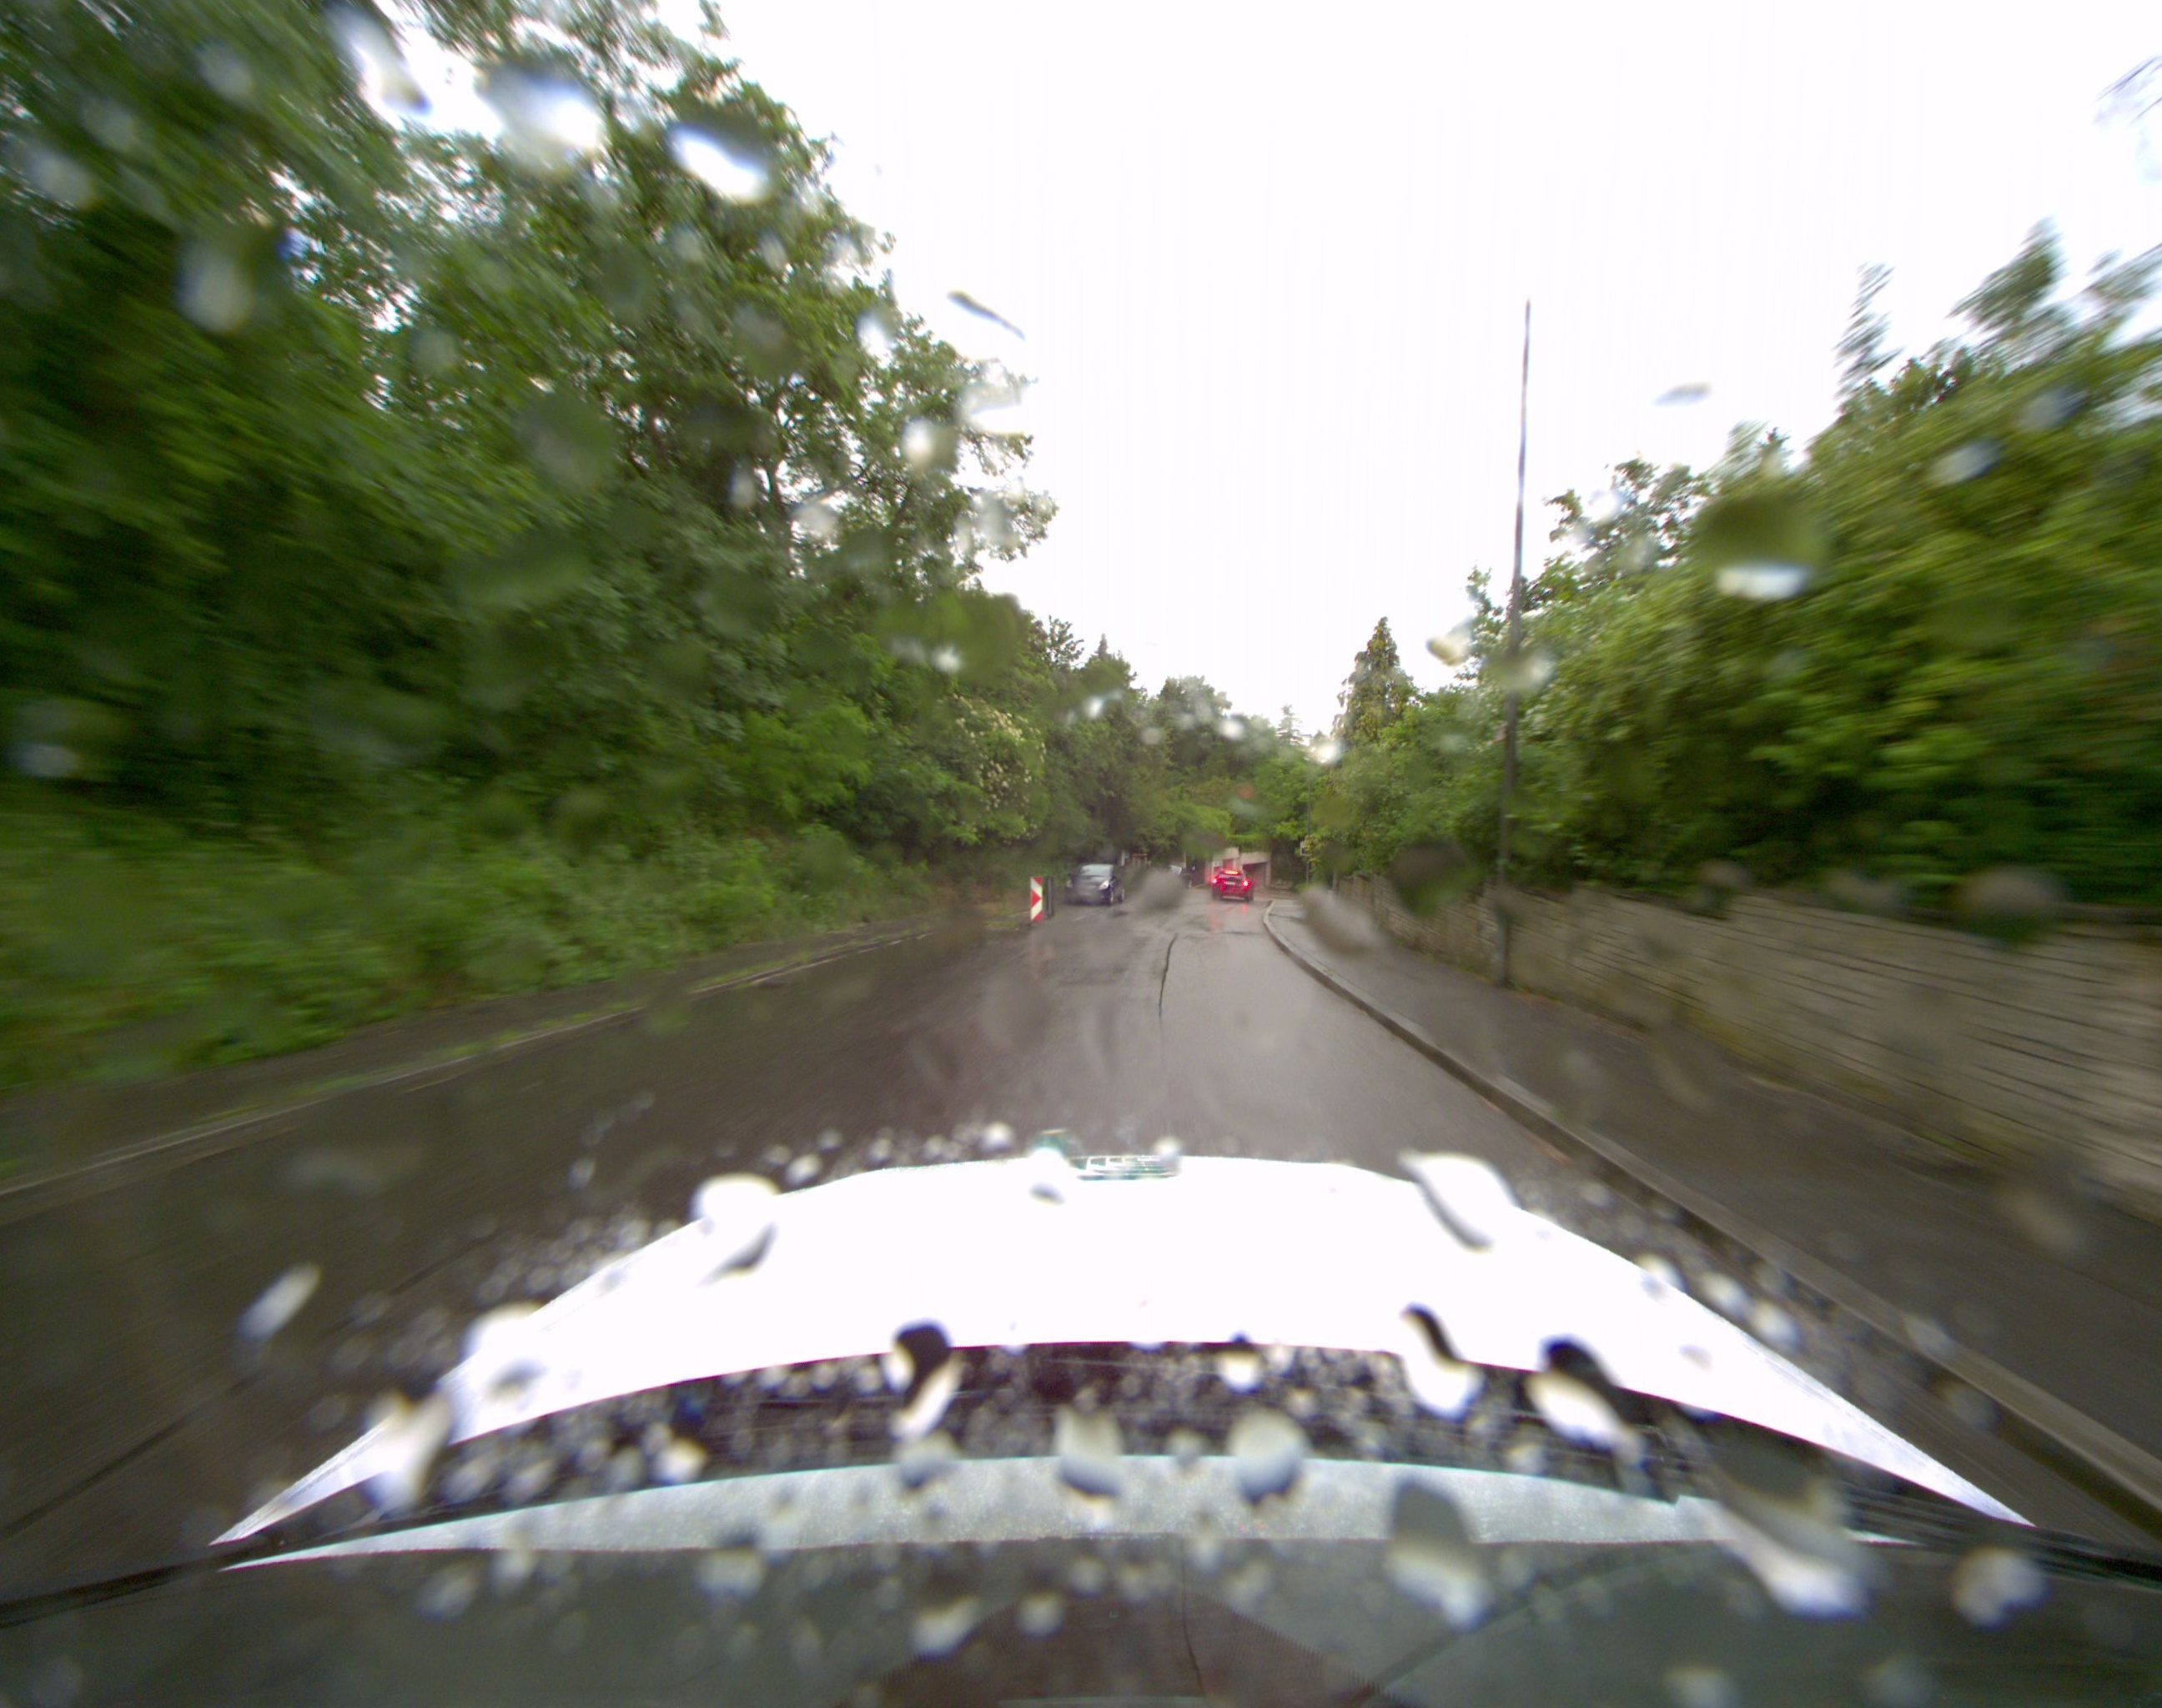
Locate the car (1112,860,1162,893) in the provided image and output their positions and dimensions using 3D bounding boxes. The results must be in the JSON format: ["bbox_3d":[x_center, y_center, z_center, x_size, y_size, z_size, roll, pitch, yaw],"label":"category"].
[{"bbox_3d":[3.082,1.199,43.820,1.979,1.640,4.015,2,-1,14],"label":"car"}]

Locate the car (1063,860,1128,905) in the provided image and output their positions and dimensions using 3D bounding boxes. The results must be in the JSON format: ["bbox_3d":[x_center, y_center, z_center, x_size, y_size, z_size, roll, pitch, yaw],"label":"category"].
[{"bbox_3d":[0.598,0.983,29.641,1.689,1.471,4.012,2,0,11],"label":"car"}]

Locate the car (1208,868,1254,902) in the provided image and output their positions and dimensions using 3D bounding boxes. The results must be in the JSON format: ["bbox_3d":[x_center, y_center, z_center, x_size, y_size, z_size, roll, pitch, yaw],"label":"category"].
[{"bbox_3d":[7.339,1.454,39.558,1.854,1.512,4.109,0,-1,15],"label":"car"}]

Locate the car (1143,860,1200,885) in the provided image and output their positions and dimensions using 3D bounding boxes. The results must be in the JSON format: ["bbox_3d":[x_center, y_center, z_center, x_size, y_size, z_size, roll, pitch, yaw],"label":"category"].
[{"bbox_3d":[5.940,1.230,53.076,1.975,1.508,4.598,1,-1,30],"label":"car"}]
